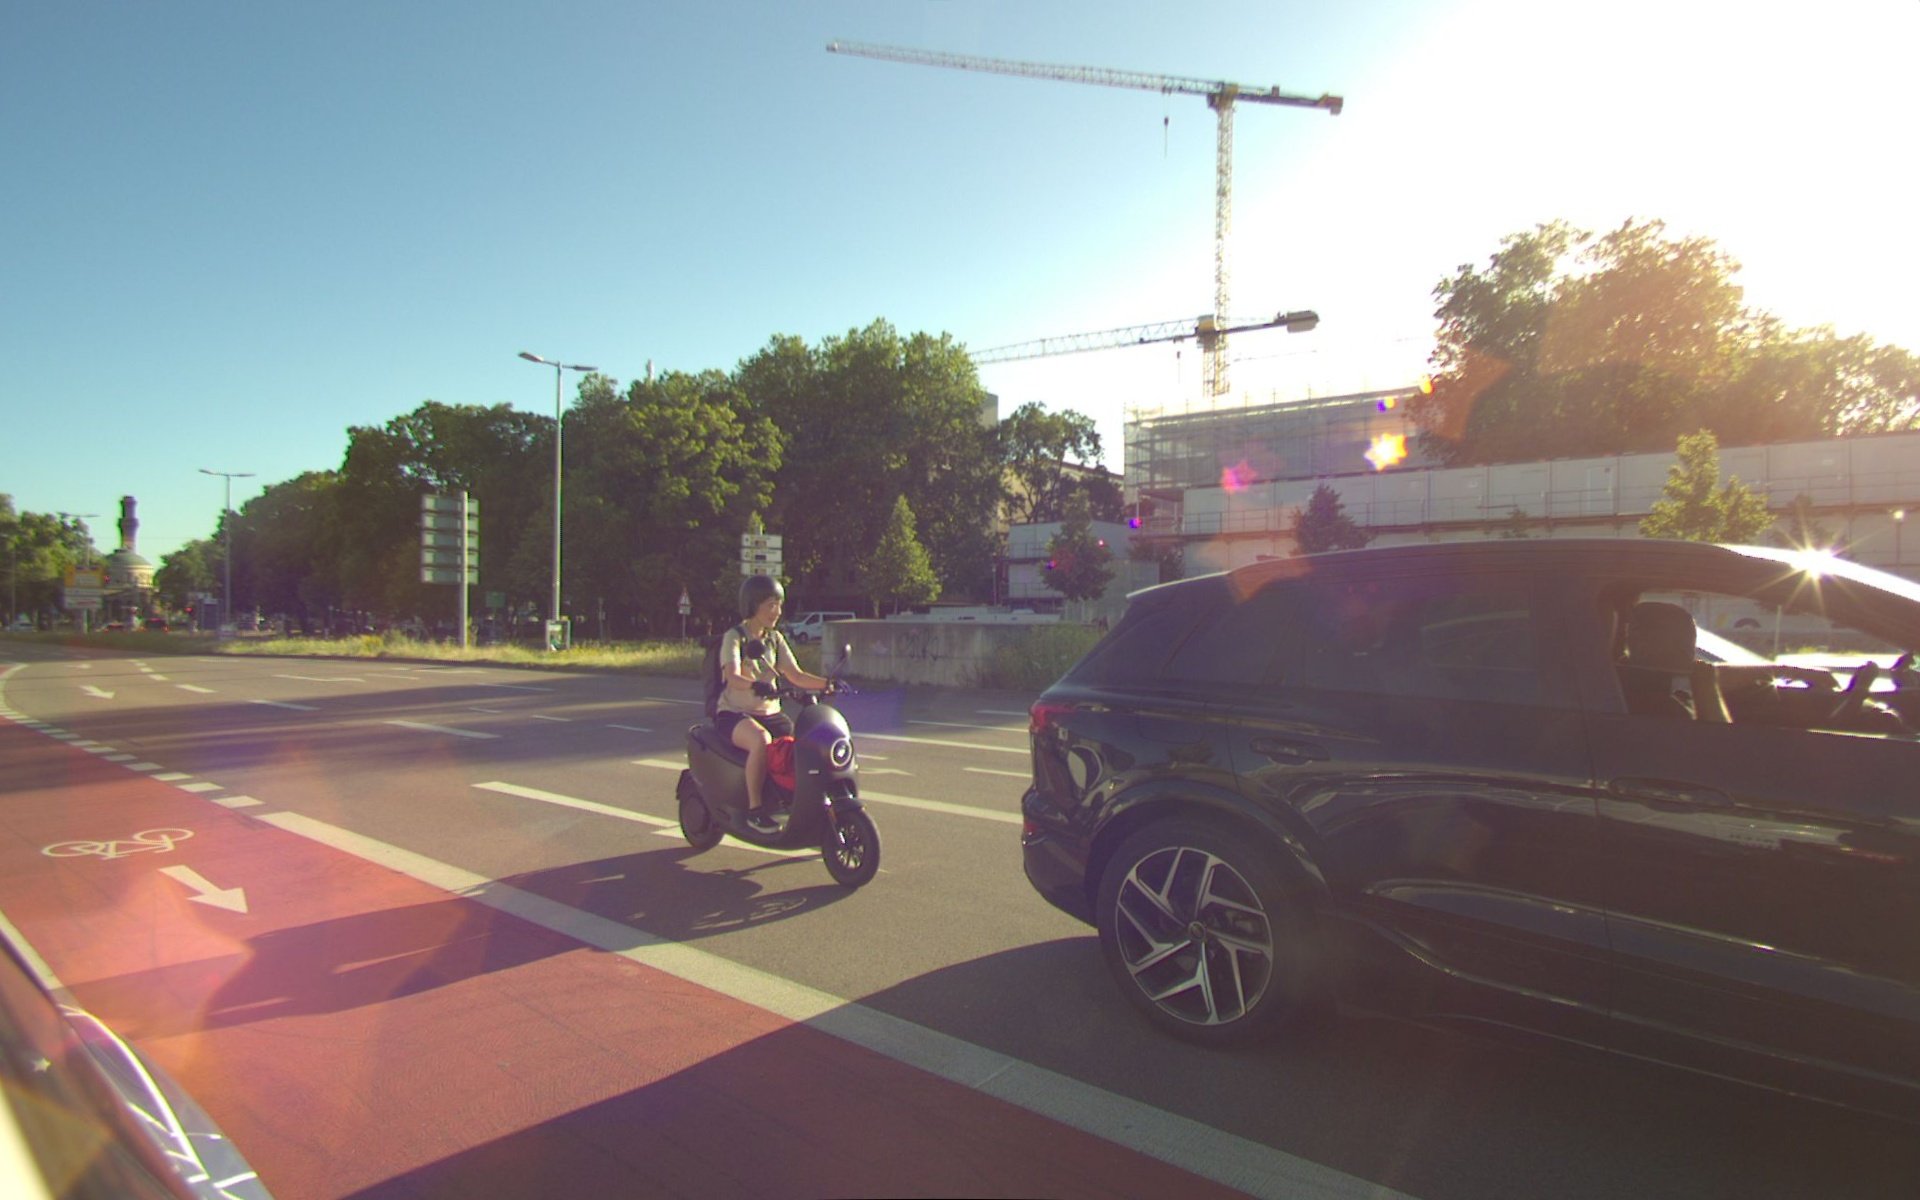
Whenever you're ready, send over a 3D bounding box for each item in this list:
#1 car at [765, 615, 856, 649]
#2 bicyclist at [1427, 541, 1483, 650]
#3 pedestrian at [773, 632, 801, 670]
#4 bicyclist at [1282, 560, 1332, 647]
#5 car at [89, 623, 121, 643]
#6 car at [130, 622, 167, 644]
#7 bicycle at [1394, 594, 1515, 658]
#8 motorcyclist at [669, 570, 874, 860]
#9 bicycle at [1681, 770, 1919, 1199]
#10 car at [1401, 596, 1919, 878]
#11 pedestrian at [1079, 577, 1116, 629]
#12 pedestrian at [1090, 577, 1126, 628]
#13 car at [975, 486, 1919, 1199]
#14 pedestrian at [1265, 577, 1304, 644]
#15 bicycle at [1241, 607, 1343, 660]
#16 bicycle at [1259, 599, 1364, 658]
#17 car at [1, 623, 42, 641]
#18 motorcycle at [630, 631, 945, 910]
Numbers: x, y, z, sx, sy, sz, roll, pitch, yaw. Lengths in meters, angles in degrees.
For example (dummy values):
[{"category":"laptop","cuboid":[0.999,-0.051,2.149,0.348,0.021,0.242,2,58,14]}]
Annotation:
[{"category":"car","cuboid":[-9.059,1.925,61.845,2.065,1.950,5.443,-1,-2,42]},{"category":"bicyclist","cuboid":[14.657,-0.129,29.971,1.305,3.126,0.831,-1,0,39]},{"category":"pedestrian","cuboid":[-8.683,2.552,50.768,1.018,1.845,0.977,-1,0,37]},{"category":"bicyclist","cuboid":[11.235,0.106,32.783,1.305,2.749,0.831,-1,0,39]},{"category":"car","cuboid":[-79.867,3.035,94.533,3.945,1.802,1.725,-1,0,41]},{"category":"car","cuboid":[-70.153,2.836,87.482,3.998,1.841,1.796,-1,0,41]},{"category":"bicycle","cuboid":[14.616,0.786,30.004,3.079,1.824,0.831,-3,-1,40]},{"category":"motorcyclist","cuboid":[-1.077,0.596,5.771,0.917,1.485,0.717,-2,-1,41]},{"category":"bicycle","cuboid":[1.375,0.787,0.310,1.829,1.227,0.610,-2,-1,39]},{"category":"car","cuboid":[4.976,0.755,6.546,3.603,1.497,1.477,-2,-1,41]},{"category":"pedestrian","cuboid":[5.426,0.119,39.975,1.135,2.029,0.930,-1,0,35]},{"category":"pedestrian","cuboid":[5.971,0.111,40.746,1.135,2.029,0.930,-1,0,35]},{"category":"car","cuboid":[2.418,0.577,3.027,4.677,1.647,1.753,-1,0,40]},{"category":"pedestrian","cuboid":[11.838,0.374,36.890,1.018,2.393,1.007,-1,0,40]},{"category":"bicycle","cuboid":[12.025,1.172,36.730,3.355,1.824,1.066,-1,0,40]},{"category":"bicycle","cuboid":[11.321,0.939,32.711,3.079,1.824,0.831,-3,-1,40]},{"category":"car","cuboid":[-92.613,3.122,99.901,3.983,1.699,1.833,-1,0,29]},{"category":"motorcycle","cuboid":[-1.031,0.843,5.730,1.883,1.303,0.715,-2,-1,41]}]
